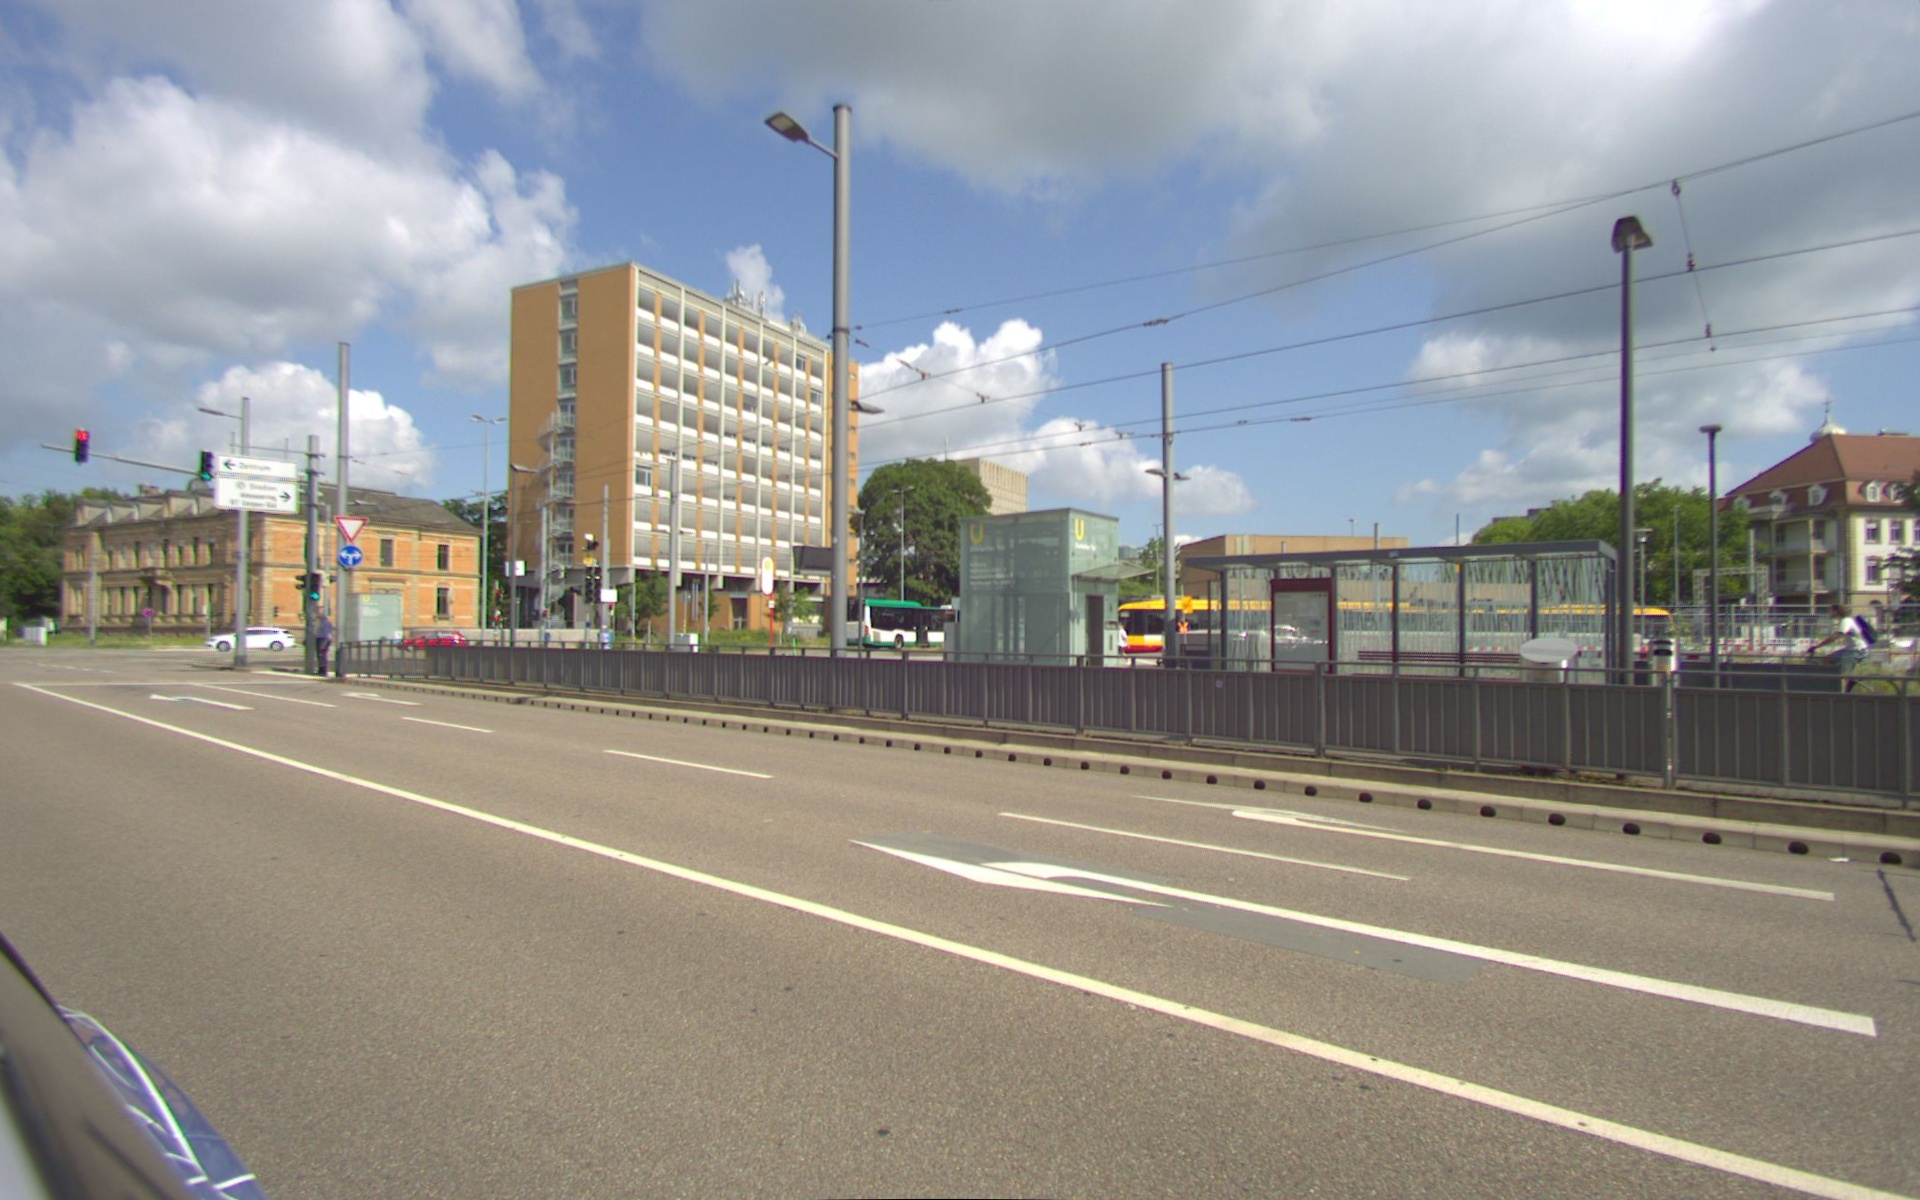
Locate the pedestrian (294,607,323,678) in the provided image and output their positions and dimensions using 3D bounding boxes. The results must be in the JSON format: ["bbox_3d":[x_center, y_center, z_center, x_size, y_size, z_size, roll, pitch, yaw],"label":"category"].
[{"bbox_3d":[-18.807,1.211,29.213,0.576,2.029,0.423,-1,-3,29],"label":"pedestrian"}]

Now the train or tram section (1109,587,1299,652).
[{"bbox_3d":[14.574,1.207,60.874,10.445,3.507,3.328,-1,-3,-6],"label":"train or tram section"}]

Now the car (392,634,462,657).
[{"bbox_3d":[-35.846,3.060,68.087,3.997,1.479,1.650,1,-4,-35],"label":"car"}]

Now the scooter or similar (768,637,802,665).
[{"bbox_3d":[-7.417,2.149,42.929,1.164,1.175,0.804,-1,-2,31],"label":"scooter or similar"}]

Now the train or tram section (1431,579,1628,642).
[{"bbox_3d":[35.334,0.690,62.962,10.445,3.507,3.328,-1,-3,-6],"label":"train or tram section"}]

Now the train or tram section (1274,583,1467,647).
[{"bbox_3d":[24.989,0.964,61.897,10.445,3.507,3.328,-1,-3,-6],"label":"train or tram section"}]

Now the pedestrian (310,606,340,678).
[{"bbox_3d":[-18.181,1.209,28.983,0.513,2.029,0.498,-1,-3,29],"label":"pedestrian"}]

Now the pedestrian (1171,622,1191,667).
[{"bbox_3d":[9.000,1.798,41.241,0.553,1.808,0.721,0,-2,-7],"label":"pedestrian"}]

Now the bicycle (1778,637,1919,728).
[{"bbox_3d":[15.755,1.338,16.529,3.689,1.438,1.181,-1,-3,39],"label":"bicycle"}]

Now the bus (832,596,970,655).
[{"bbox_3d":[-3.693,1.755,68.570,2.906,3.648,12.243,-1,-2,32],"label":"bus"}]

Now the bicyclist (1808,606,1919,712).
[{"bbox_3d":[15.305,0.965,16.903,1.682,1.696,1.166,-1,-3,39],"label":"bicyclist"}]

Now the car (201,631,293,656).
[{"bbox_3d":[-44.174,2.716,62.825,4.596,1.440,1.768,0,-4,-33],"label":"car"}]
